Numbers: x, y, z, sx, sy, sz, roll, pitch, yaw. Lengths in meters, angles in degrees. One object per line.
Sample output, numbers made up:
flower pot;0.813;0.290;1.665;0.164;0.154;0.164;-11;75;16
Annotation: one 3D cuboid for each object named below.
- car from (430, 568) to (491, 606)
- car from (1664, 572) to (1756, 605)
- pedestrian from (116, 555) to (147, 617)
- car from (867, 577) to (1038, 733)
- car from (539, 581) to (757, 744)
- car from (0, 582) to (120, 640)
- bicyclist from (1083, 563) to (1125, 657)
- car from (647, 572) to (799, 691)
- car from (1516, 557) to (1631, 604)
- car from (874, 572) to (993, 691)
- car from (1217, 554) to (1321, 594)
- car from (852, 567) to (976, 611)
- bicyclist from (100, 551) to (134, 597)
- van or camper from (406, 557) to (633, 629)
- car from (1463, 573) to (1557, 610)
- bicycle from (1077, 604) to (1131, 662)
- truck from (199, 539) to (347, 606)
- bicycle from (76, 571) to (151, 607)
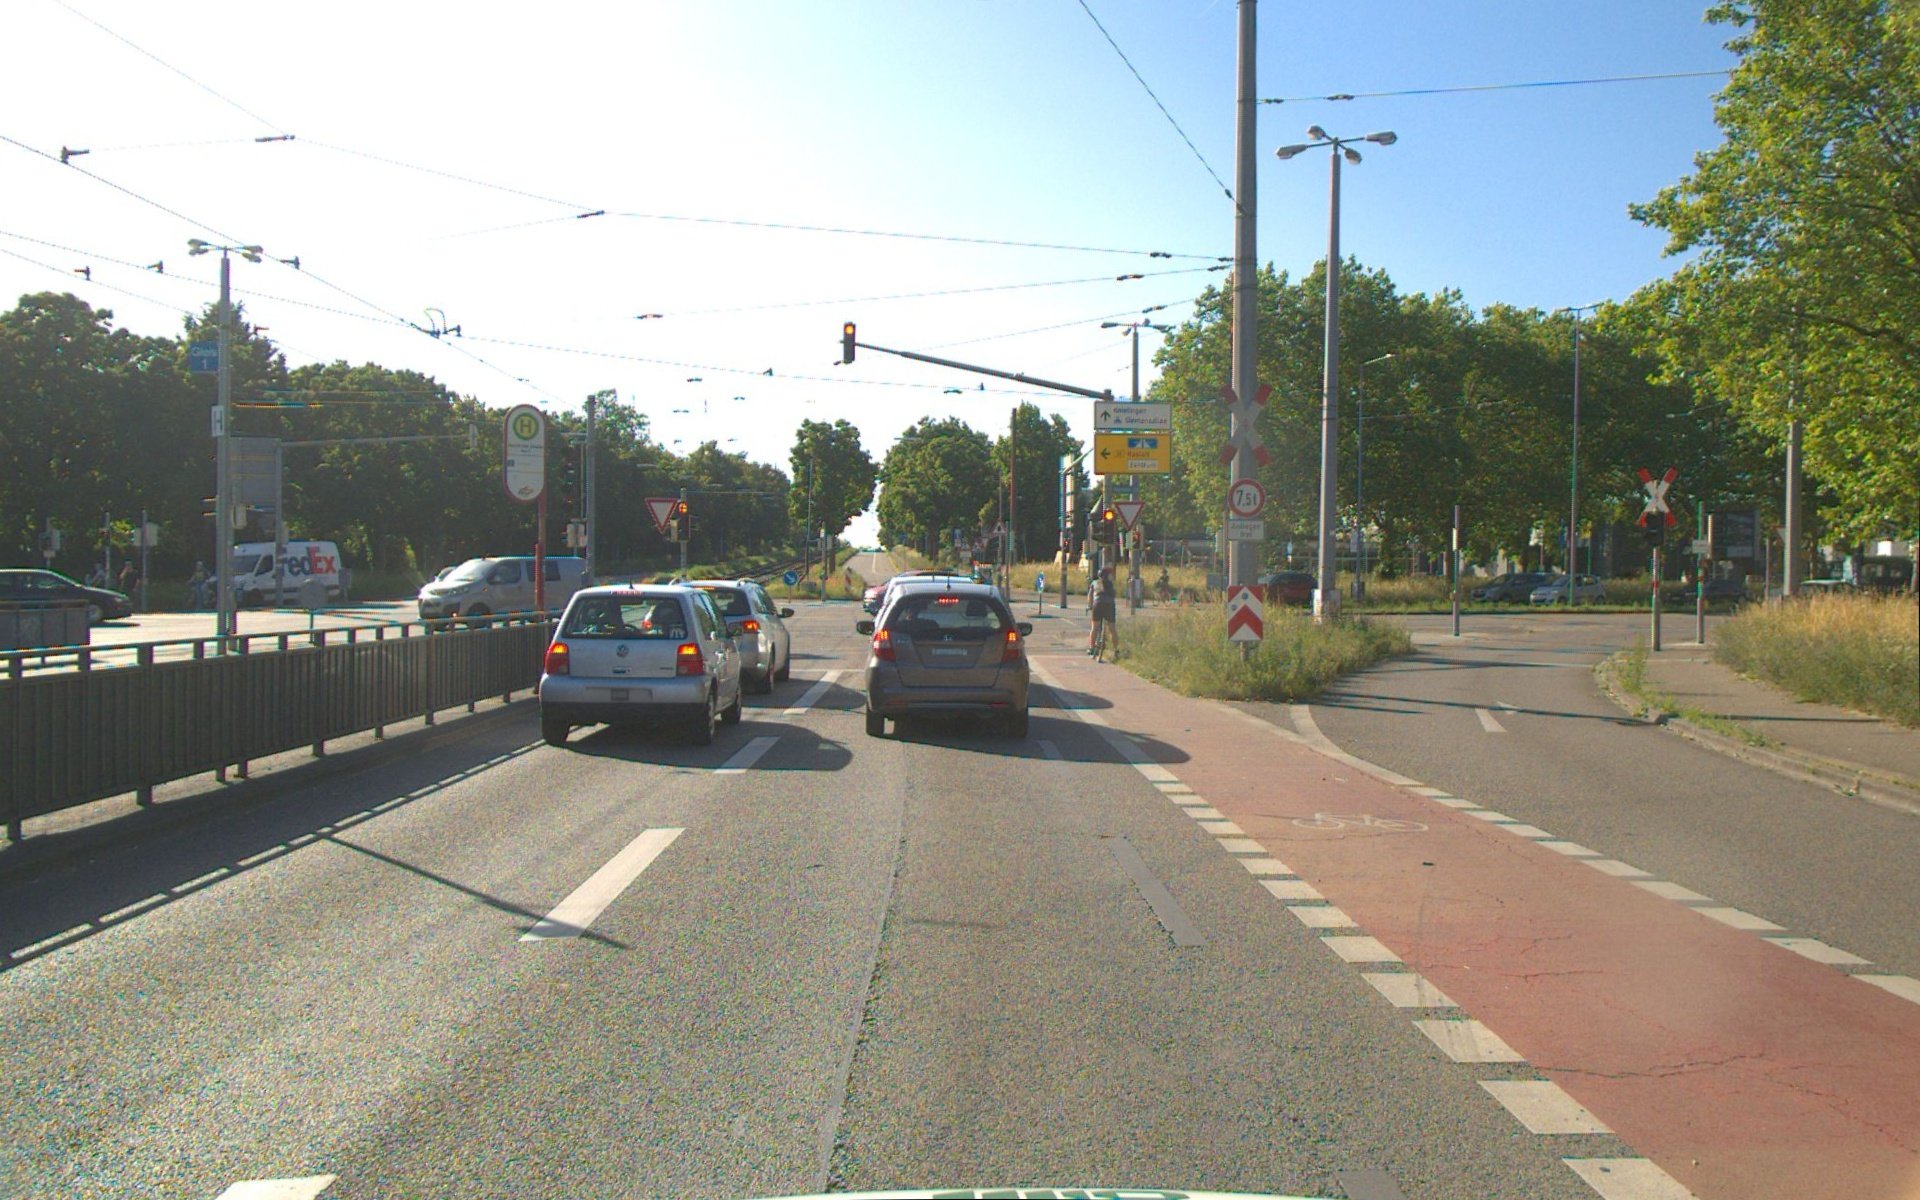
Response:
car;-21.162;-0.549;70.194;1.797;1.575;3.994;0;1;-7
car;37.518;-0.603;82.766;4.449;1.601;1.681;0;1;-24
pedestrian;-27.956;-0.477;55.800;0.735;2.049;0.789;0;1;-13
car;-0.154;0.508;17.699;1.635;1.487;3.584;0;1;-3
car;-2.993;0.550;16.467;1.586;1.442;3.350;0;0;-1
car;-23.097;0.257;41.480;3.622;1.402;1.514;0;1;-28
bicyclist;2.740;0.194;31.534;0.652;1.746;0.948;2;0;-1
car;-3.211;0.395;23.099;1.586;1.482;4.084;1;0;-1
car;27.554;-0.881;74.269;4.822;2.049;1.986;0;1;-24
car;-0.394;0.402;24.332;1.578;1.589;4.287;0;1;-1
car;12.455;-1.053;66.611;3.934;1.557;1.594;-1;1;-24
car;-1.514;-0.375;55.306;3.968;1.427;1.590;-1;1;-34
bicyclist;-30.831;-0.937;60.517;0.991;1.676;0.813;0;1;-19
van or camper;-11.900;-0.214;45.104;1.964;1.860;5.953;1;1;41
car;25.803;-0.396;77.625;3.931;1.606;1.868;2;0;-22
bicycle;2.726;0.607;31.616;0.707;1.006;2.875;2;0;-1
truck;-28.106;-1.125;68.011;1.951;2.610;6.829;0;1;14
bicycle;-30.952;-0.405;60.509;2.360;1.285;0.813;0;1;-19
